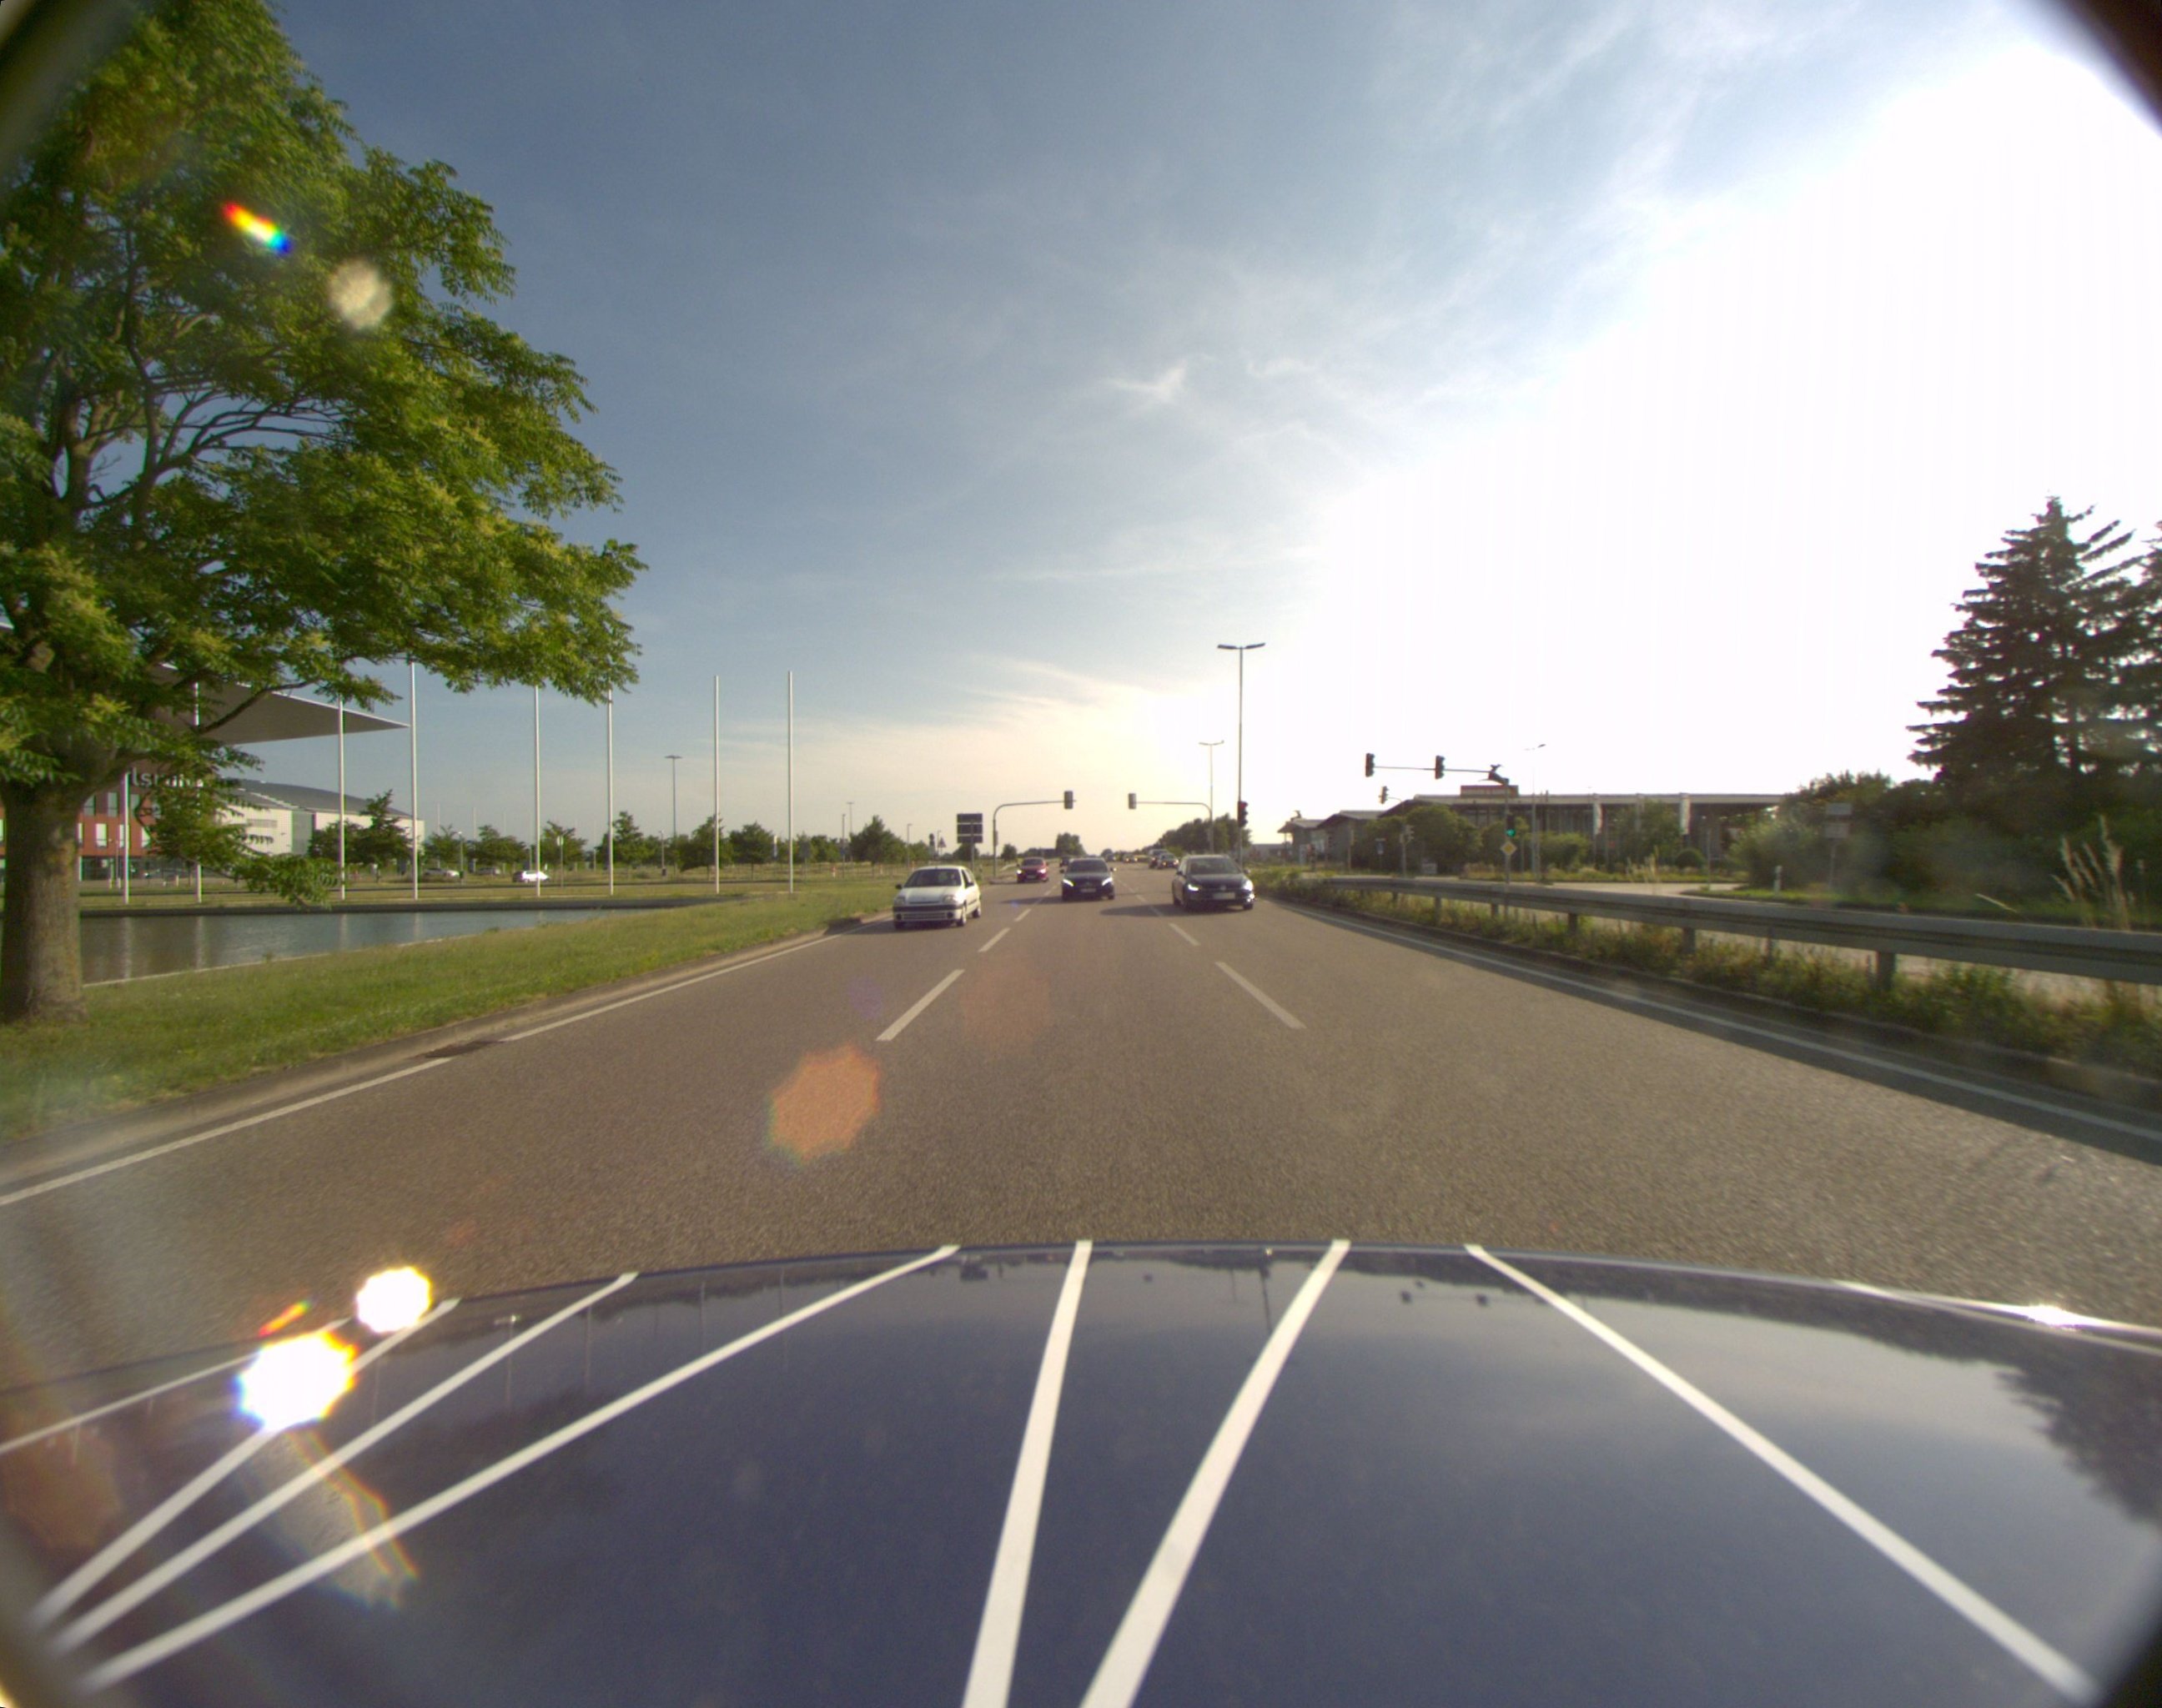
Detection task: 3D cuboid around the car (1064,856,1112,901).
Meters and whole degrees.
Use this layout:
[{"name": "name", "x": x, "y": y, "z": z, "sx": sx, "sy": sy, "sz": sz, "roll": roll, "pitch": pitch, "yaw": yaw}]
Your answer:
[{"name": "car", "x": 0.292, "y": 0.811, "z": 27.814, "sx": 1.576, "sy": 1.462, "sz": 5.022, "roll": -1, "pitch": 0, "yaw": 1}]

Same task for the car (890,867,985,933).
[{"name": "car", "x": -3.383, "y": 1.043, "z": 18.539, "sx": 1.578, "sy": 1.371, "sz": 3.452, "roll": -1, "pitch": 0, "yaw": 1}]

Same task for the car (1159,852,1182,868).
[{"name": "car", "x": 8.320, "y": 0.550, "z": 70.895, "sx": 1.711, "sy": 1.428, "sz": 3.565, "roll": -1, "pitch": 0, "yaw": 1}]

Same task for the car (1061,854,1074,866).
[{"name": "car", "x": -1.879, "y": 0.826, "z": 106.252, "sx": 1.751, "sy": 1.512, "sz": 3.739, "roll": -1, "pitch": 0, "yaw": 1}]

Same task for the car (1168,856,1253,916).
[{"name": "car", "x": 3.507, "y": 0.801, "z": 21.342, "sx": 1.650, "sy": 1.462, "sz": 4.776, "roll": -1, "pitch": 0, "yaw": 1}]

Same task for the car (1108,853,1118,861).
[{"name": "car", "x": 6.415, "y": 0.638, "z": 150.712, "sx": 1.751, "sy": 1.512, "sz": 3.739, "roll": -1, "pitch": 0, "yaw": -1}]

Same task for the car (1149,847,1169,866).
[{"name": "car", "x": 7.902, "y": 0.234, "z": 77.345, "sx": 1.650, "sy": 1.823, "sz": 4.226, "roll": -1, "pitch": 0, "yaw": 1}]

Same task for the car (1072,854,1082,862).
[{"name": "car", "x": -0.776, "y": 0.690, "z": 140.248, "sx": 1.751, "sy": 1.512, "sz": 3.739, "roll": -1, "pitch": 0, "yaw": 1}]

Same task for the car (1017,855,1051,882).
[{"name": "car", "x": -2.849, "y": 0.864, "z": 46.684, "sx": 1.751, "sy": 1.512, "sz": 3.739, "roll": -1, "pitch": 0, "yaw": 1}]

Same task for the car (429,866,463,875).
[{"name": "car", "x": -101.946, "y": 2.659, "z": 122.014, "sx": 4.209, "sy": 1.272, "sz": 1.486, "roll": -1, "pitch": 0, "yaw": -2}]

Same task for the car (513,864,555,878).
[{"name": "car", "x": -62.384, "y": 1.956, "z": 86.693, "sx": 1.709, "sy": 1.447, "sz": 3.568, "roll": -1, "pitch": 0, "yaw": 12}]
